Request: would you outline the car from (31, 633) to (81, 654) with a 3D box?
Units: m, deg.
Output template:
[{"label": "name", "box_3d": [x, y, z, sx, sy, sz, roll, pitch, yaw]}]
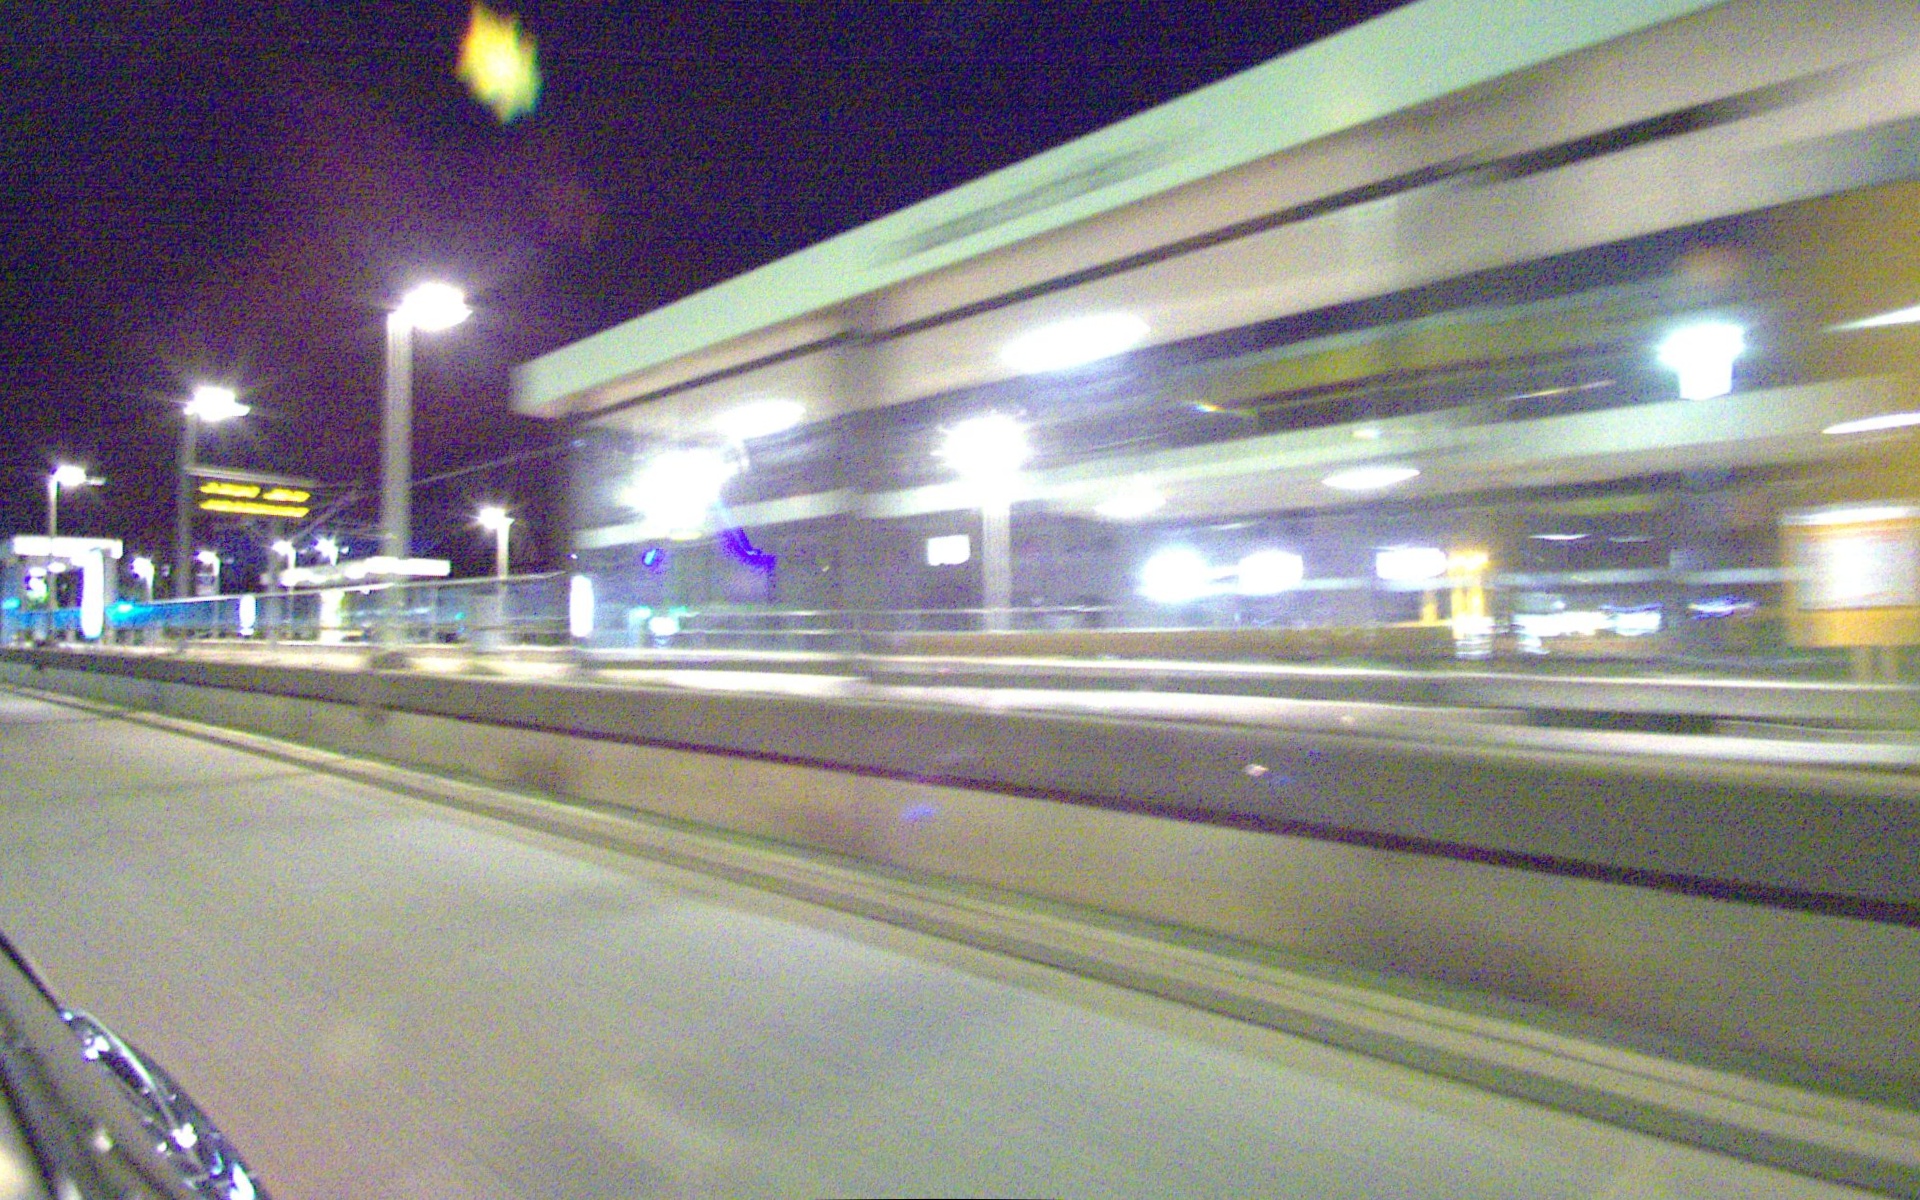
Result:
[{"label": "car", "box_3d": [-68.145, 3.285, 76.282, 4.085, 1.516, 1.849, -2, -3, 35]}]
